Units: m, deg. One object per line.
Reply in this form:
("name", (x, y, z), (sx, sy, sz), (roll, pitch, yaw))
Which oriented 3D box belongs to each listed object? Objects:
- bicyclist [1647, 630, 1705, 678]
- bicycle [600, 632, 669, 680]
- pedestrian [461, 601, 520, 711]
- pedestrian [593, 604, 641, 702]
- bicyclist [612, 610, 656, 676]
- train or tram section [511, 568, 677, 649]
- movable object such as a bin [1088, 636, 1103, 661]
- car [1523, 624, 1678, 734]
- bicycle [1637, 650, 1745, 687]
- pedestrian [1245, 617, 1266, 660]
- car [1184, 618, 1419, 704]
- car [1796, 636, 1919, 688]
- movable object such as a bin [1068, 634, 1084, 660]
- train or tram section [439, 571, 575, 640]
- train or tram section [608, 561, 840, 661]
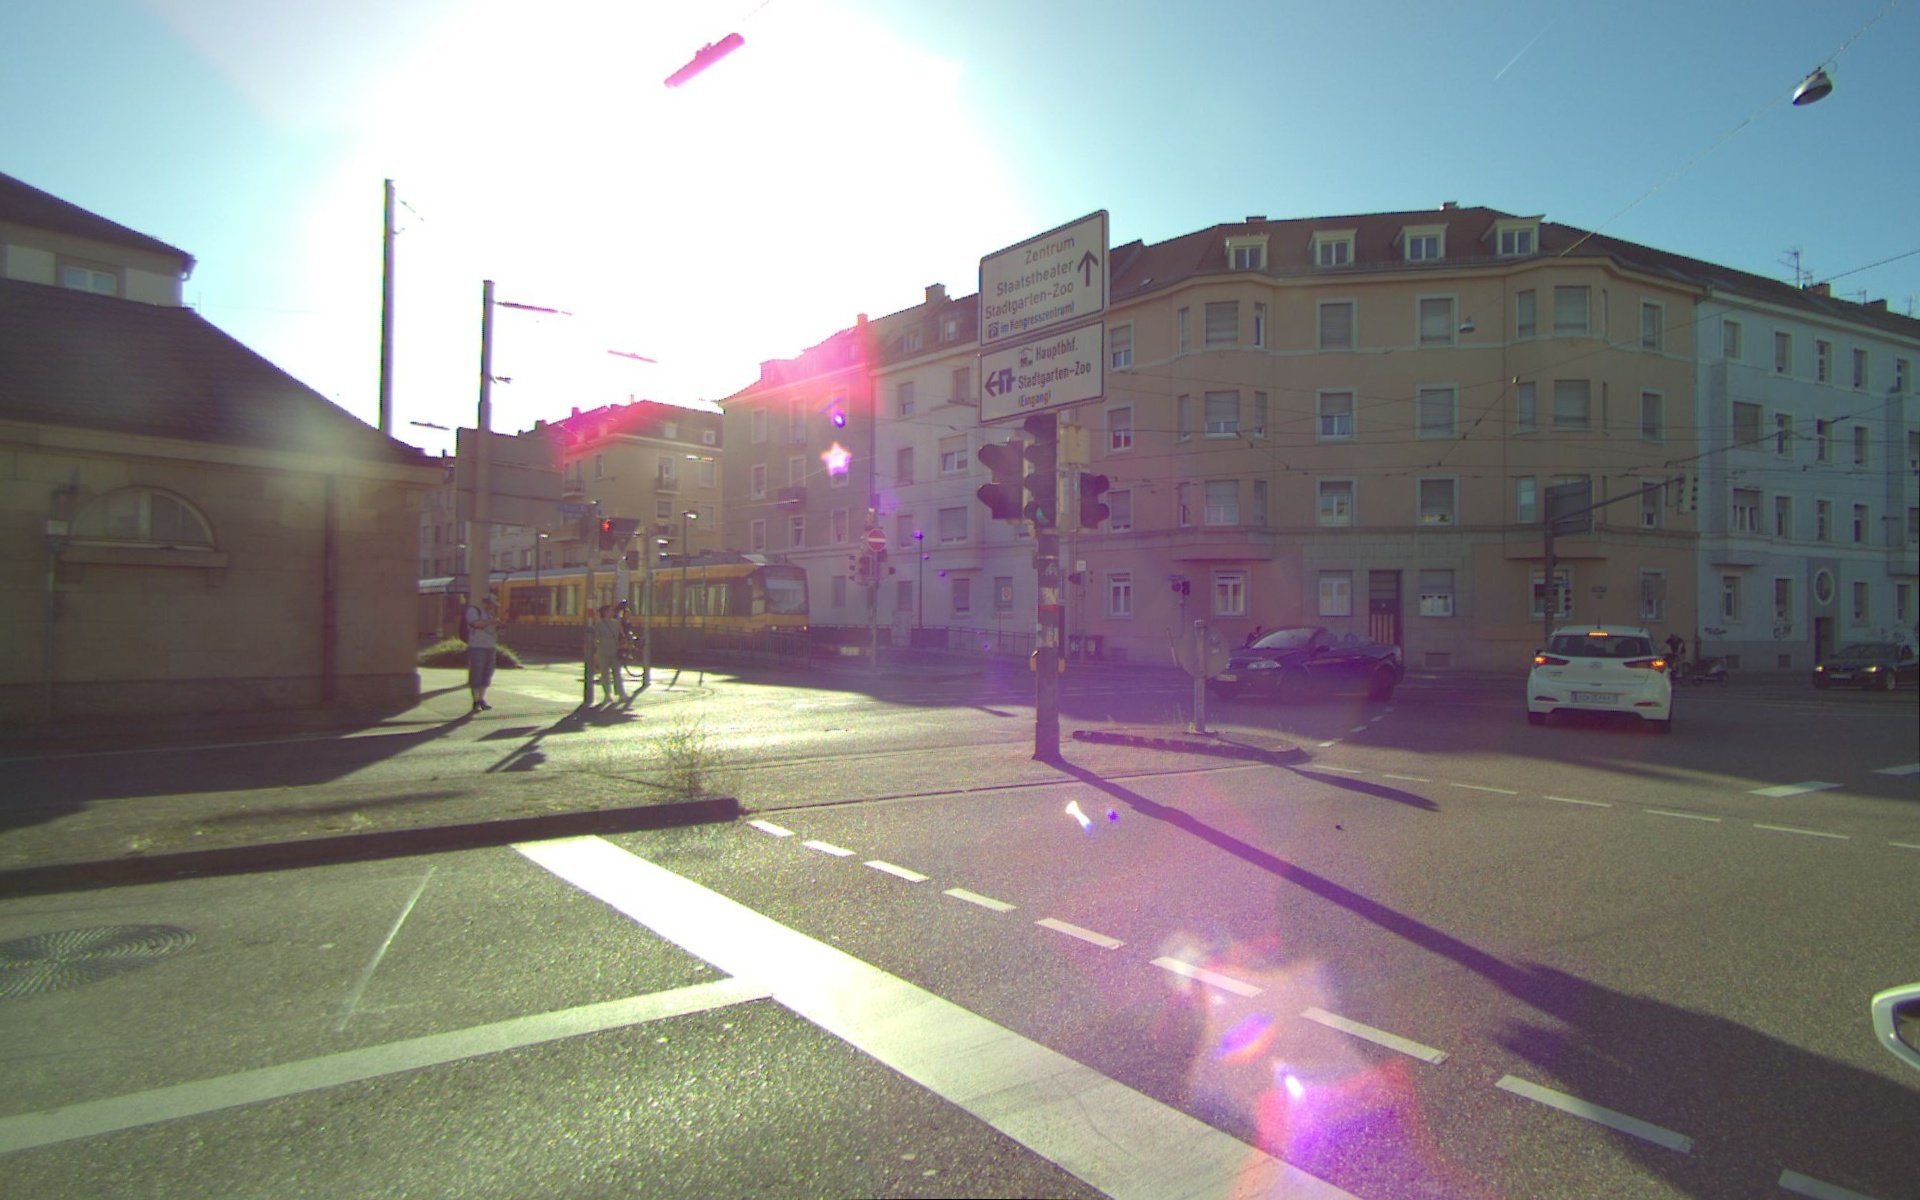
("bicyclist", (21.421, 1.602, 30.059), (1.130, 1.400, 0.933), (1, -1, -19))
("bicycle", (-8.489, 1.435, 26.159), (2.042, 1.151, 0.682), (1, -1, 40))
("pedestrian", (-7.268, 0.848, 15.559), (0.504, 1.661, 0.626), (0, -1, 18))
("pedestrian", (-5.974, 0.911, 17.511), (0.479, 1.661, 0.626), (0, -1, 18))
("bicyclist", (-8.520, 1.111, 26.231), (0.925, 1.661, 0.674), (1, -1, 40))
("train or tram section", (-17.321, 0.358, 46.912), (3.146, 3.401, 10.538), (2, -1, -45))
("movable object such as a bin", (5.654, 2.010, 41.856), (0.444, 1.046, 0.479), (0, -2, 45))
("car", (9.791, 1.094, 15.230), (1.763, 1.412, 4.092), (0, -2, 36))
("bicycle", (22.026, 2.048, 30.264), (3.302, 1.070, 0.933), (1, -1, -20))
("pedestrian", (11.034, 1.418, 37.484), (0.705, 1.584, 0.678), (0, -1, 13))
("car", (6.383, 1.085, 18.670), (4.276, 1.444, 1.815), (1, -1, -30))
("car", (27.291, 1.813, 29.948), (4.501, 1.410, 1.987), (1, -2, -26))
("movable object such as a bin", (4.908, 1.998, 42.454), (0.444, 1.079, 0.479), (0, -2, 45))
("train or tram section", (-24.731, 0.294, 54.439), (3.146, 3.401, 10.705), (2, -1, -45))
("train or tram section", (-9.522, 0.471, 39.027), (3.147, 3.365, 11.661), (2, -2, -45))
